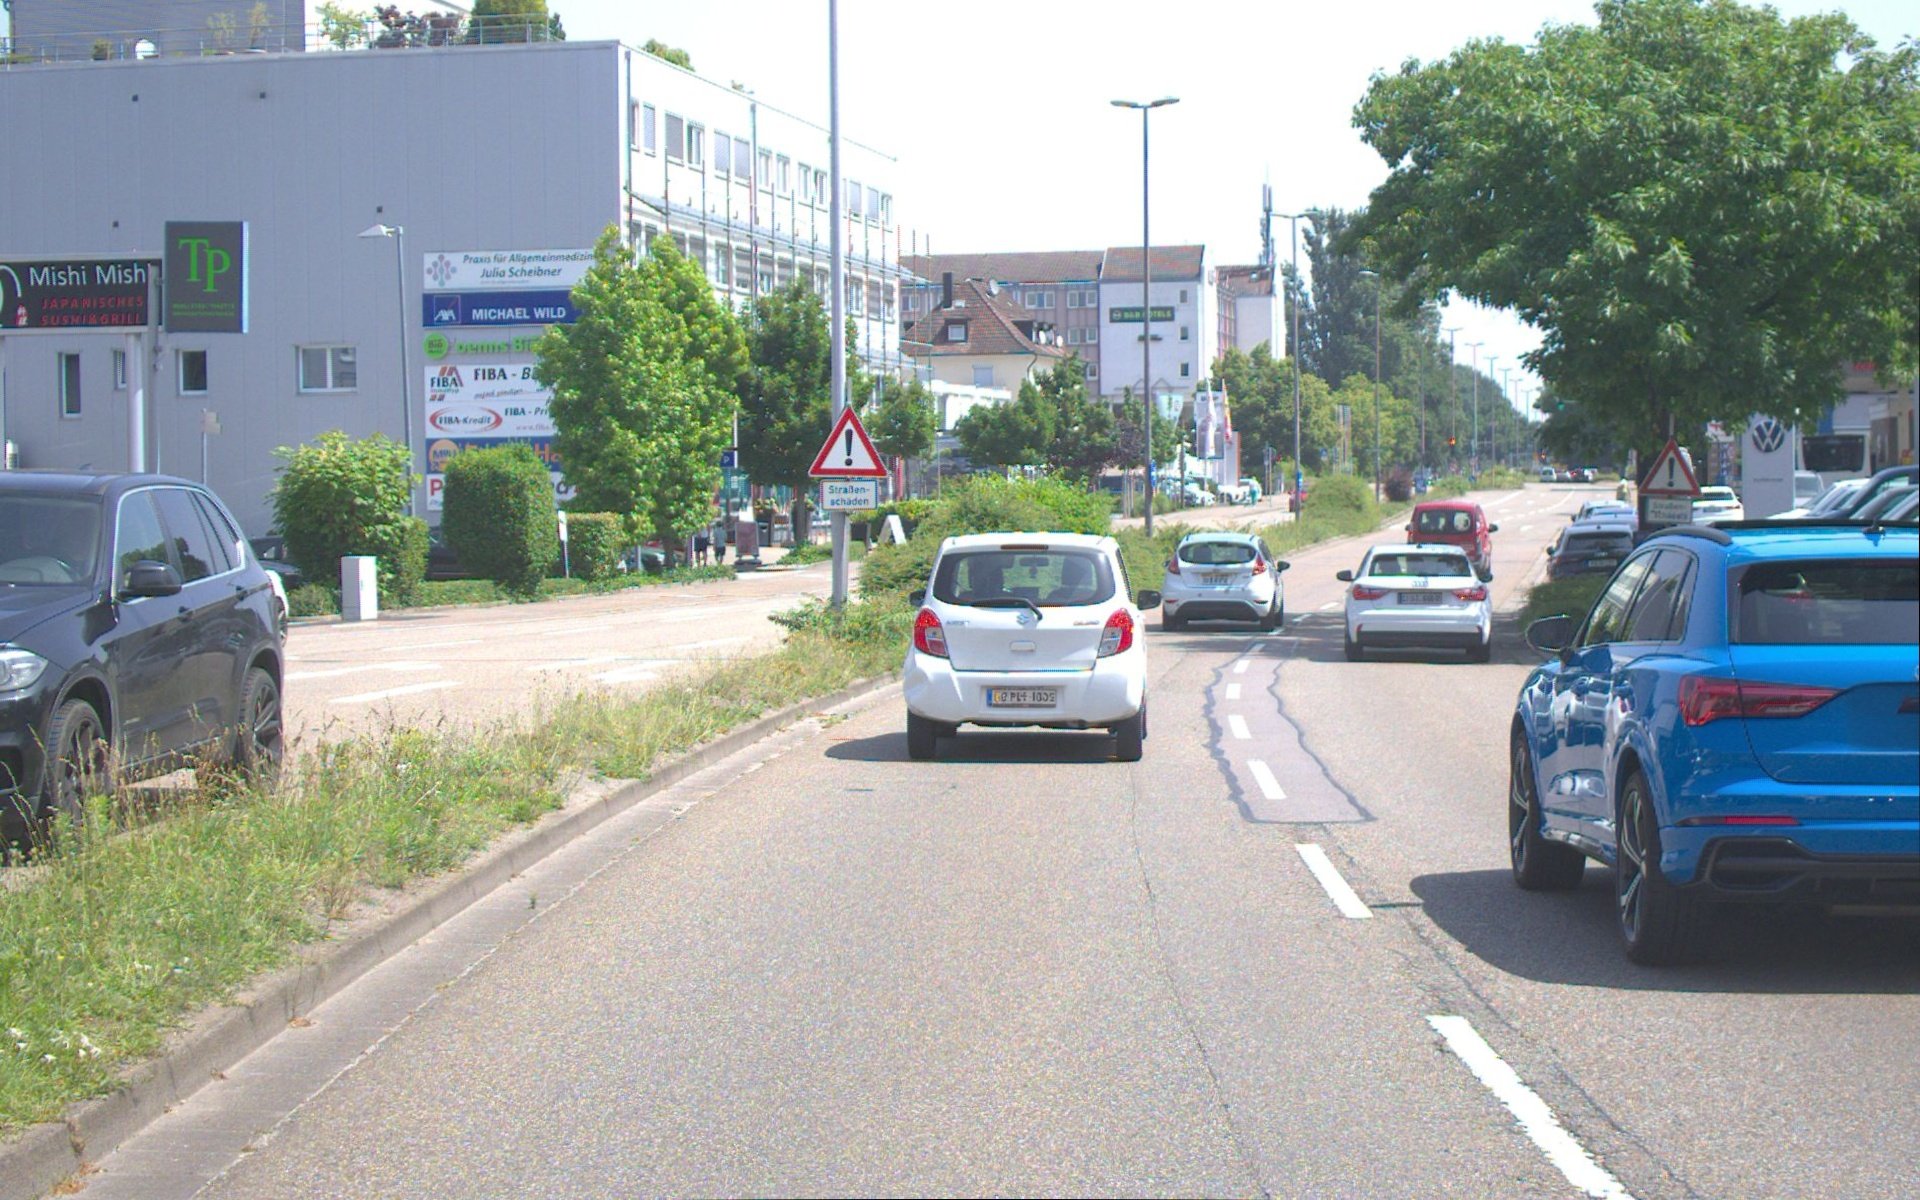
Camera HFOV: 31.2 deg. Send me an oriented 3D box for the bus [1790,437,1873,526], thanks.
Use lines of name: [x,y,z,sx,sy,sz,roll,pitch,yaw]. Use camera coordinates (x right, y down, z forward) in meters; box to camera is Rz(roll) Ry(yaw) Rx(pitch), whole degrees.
bus: [32.355,-4.485,127.705,2.806,3.068,12.278,1,3,14]

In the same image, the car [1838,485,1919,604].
car: [17.794,-1.053,60.186,4.511,2.007,2.197,-3,0,12]

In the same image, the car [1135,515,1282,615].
car: [3.736,-0.548,52.300,1.830,1.445,4.000,1,1,-1]

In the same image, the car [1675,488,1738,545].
car: [22.271,-2.502,102.692,1.668,1.590,4.611,-1,2,10]

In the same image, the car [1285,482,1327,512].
car: [17.581,-5.209,174.584,1.631,1.419,3.449,-3,1,13]

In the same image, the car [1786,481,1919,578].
car: [20.678,-1.488,73.302,5.897,2.006,2.258,1,2,13]

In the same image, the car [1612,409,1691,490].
car: [26.904,-5.816,133.993,2.133,2.829,7.308,-5,1,7]

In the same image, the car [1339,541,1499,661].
car: [5.579,-0.021,42.129,1.667,1.394,3.793,1,1,4]

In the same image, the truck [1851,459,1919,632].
truck: [15.557,-0.858,49.264,5.250,2.427,2.110,-1,2,12]

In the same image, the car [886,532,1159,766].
car: [0.378,0.309,24.181,1.712,1.505,3.247,1,0,-2]

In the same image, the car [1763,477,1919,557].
car: [21.200,-1.955,81.301,4.152,1.775,1.880,-1,0,10]

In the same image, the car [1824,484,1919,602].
car: [18.585,-1.127,63.157,5.066,2.089,2.039,-2,1,10]

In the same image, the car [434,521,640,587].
car: [-9.582,-1.052,78.068,4.225,1.344,1.980,-1,2,10]

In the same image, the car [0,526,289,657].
car: [-8.980,-0.130,37.628,1.805,1.349,4.354,0,1,9]

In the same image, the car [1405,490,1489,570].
car: [11.032,-1.571,77.772,1.795,1.723,3.971,1,1,9]

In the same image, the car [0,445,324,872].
car: [-4.653,0.209,16.508,1.909,1.745,4.759,1,0,5]

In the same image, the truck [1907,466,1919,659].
truck: [14.871,-0.536,41.886,6.248,2.328,2.367,-1,2,12]

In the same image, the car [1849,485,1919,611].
car: [16.762,-0.882,54.641,4.915,1.964,2.141,-1,1,11]

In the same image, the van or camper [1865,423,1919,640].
van or camper: [15.816,-0.985,46.323,6.799,2.888,2.275,-1,2,10]

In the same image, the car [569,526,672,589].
car: [-8.829,-1.127,89.675,1.660,1.462,3.797,-2,2,10]

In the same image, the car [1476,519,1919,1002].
car: [3.315,0.479,13.537,1.913,1.591,4.396,0,1,0]

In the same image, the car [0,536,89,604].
car: [-21.742,-0.659,76.802,3.972,1.462,1.964,-1,2,5]

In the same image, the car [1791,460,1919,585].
car: [20.093,-1.557,70.565,5.847,2.515,2.203,1,1,13]

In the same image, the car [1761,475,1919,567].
car: [21.463,-1.893,81.499,4.641,2.006,1.960,-2,2,9]

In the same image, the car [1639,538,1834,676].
car: [8.629,0.035,38.504,1.798,1.401,4.319,1,1,9]

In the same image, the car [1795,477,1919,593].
car: [18.569,-1.297,65.645,4.901,2.107,2.128,-2,2,10]
